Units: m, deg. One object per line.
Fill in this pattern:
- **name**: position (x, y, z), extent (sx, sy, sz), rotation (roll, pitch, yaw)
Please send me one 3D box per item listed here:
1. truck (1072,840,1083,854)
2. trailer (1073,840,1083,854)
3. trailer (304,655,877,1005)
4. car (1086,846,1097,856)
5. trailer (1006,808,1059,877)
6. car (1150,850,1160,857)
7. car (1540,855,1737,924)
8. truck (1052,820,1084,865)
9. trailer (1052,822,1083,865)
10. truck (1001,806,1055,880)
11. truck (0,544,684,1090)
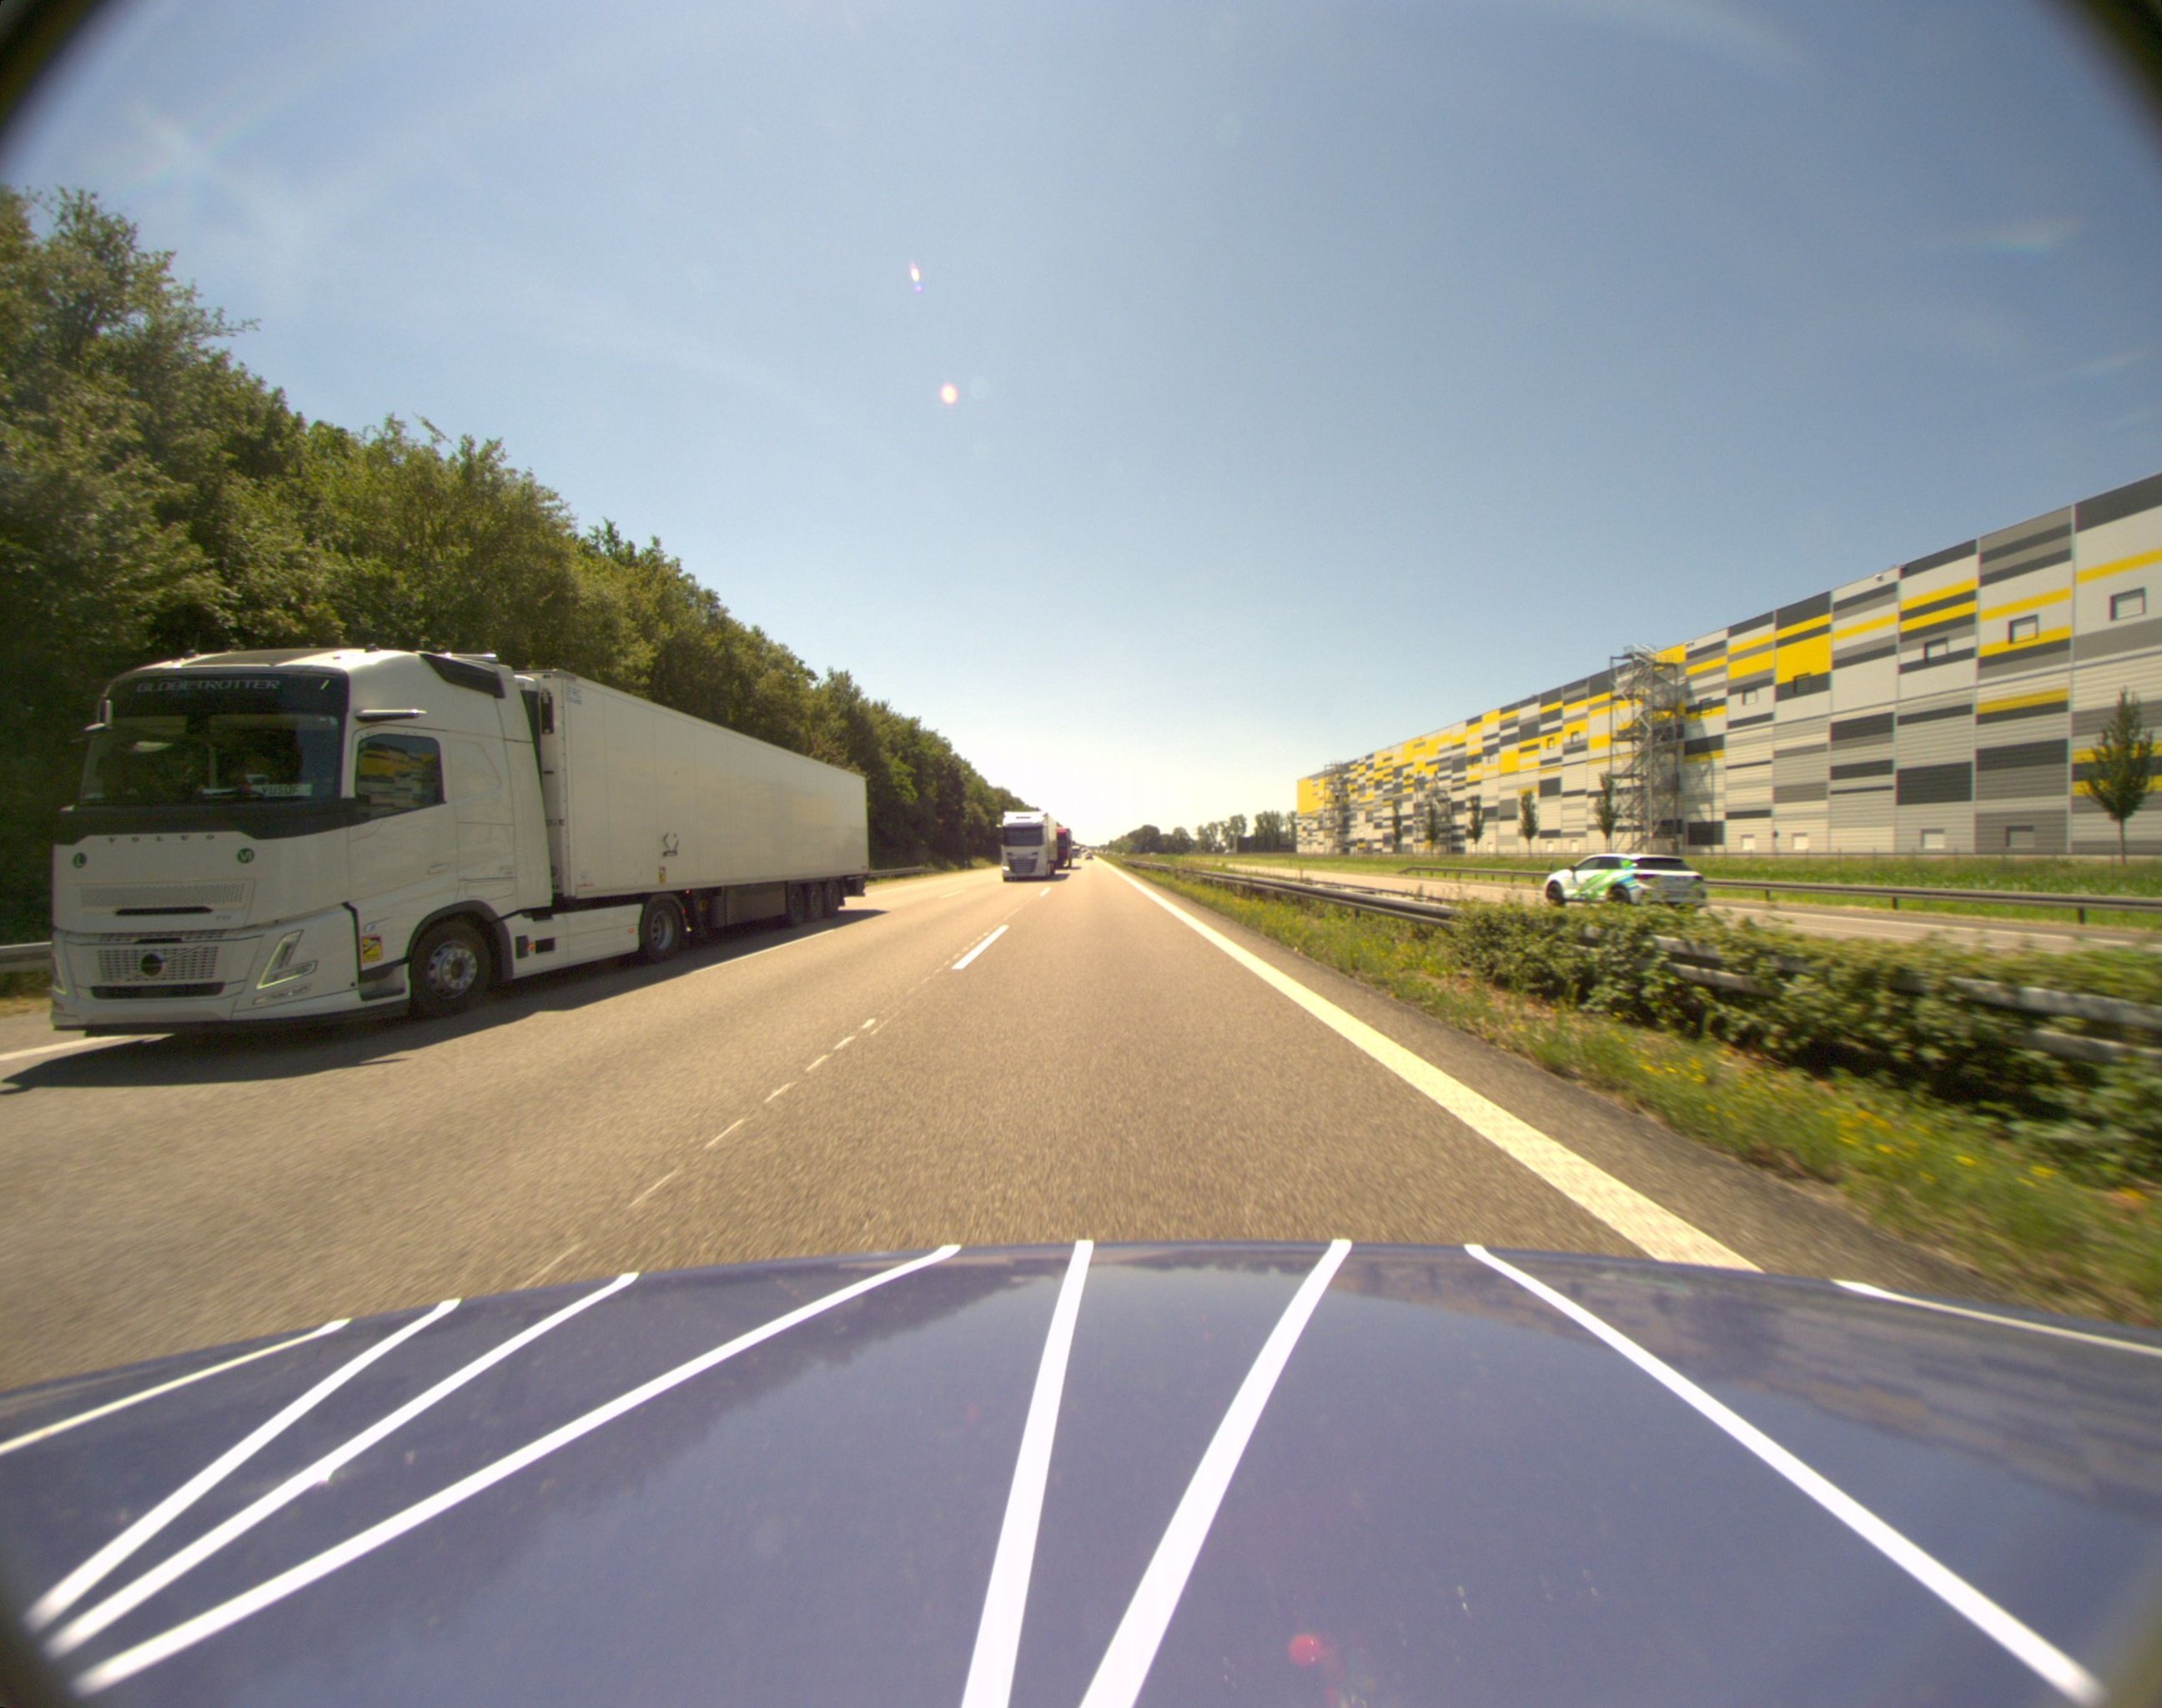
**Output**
- **truck**: position (-0.924, -2.125, 222.946), extent (2.998, 4.046, 5.770), rotation (-2, 1, 0)
- **trailer**: position (-0.923, -2.208, 230.310), extent (3.005, 4.046, 13.833), rotation (-2, 0, 0)
- **trailer**: position (-7.847, -0.332, 16.208), extent (3.047, 4.200, 13.834), rotation (-2, 0, 0)
- **car**: position (2.202, -0.622, 160.533), extent (2.073, 1.959, 5.109), rotation (0, 0, -1)
- **trailer**: position (-3.093, -0.712, 52.167), extent (2.684, 4.046, 13.833), rotation (-2, 0, 0)
- **car**: position (16.318, -0.090, 168.086), extent (1.637, 1.419, 4.660), rotation (1, 1, 0)
- **car**: position (14.034, 0.808, 19.520), extent (1.812, 1.475, 4.416), rotation (2, 1, 1)
- **truck**: position (-1.272, -1.042, 72.907), extent (2.870, 4.046, 5.770), rotation (-2, 1, -1)
- **trailer**: position (-1.407, -1.063, 80.263), extent (2.885, 4.046, 13.832), rotation (-2, 0, -1)
- **truck**: position (-3.073, -0.637, 45.340), extent (2.684, 4.046, 6.048), rotation (-2, 1, 0)
- **truck**: position (-7.886, -0.284, 8.951), extent (3.055, 4.191, 6.048), rotation (-2, 1, 0)
